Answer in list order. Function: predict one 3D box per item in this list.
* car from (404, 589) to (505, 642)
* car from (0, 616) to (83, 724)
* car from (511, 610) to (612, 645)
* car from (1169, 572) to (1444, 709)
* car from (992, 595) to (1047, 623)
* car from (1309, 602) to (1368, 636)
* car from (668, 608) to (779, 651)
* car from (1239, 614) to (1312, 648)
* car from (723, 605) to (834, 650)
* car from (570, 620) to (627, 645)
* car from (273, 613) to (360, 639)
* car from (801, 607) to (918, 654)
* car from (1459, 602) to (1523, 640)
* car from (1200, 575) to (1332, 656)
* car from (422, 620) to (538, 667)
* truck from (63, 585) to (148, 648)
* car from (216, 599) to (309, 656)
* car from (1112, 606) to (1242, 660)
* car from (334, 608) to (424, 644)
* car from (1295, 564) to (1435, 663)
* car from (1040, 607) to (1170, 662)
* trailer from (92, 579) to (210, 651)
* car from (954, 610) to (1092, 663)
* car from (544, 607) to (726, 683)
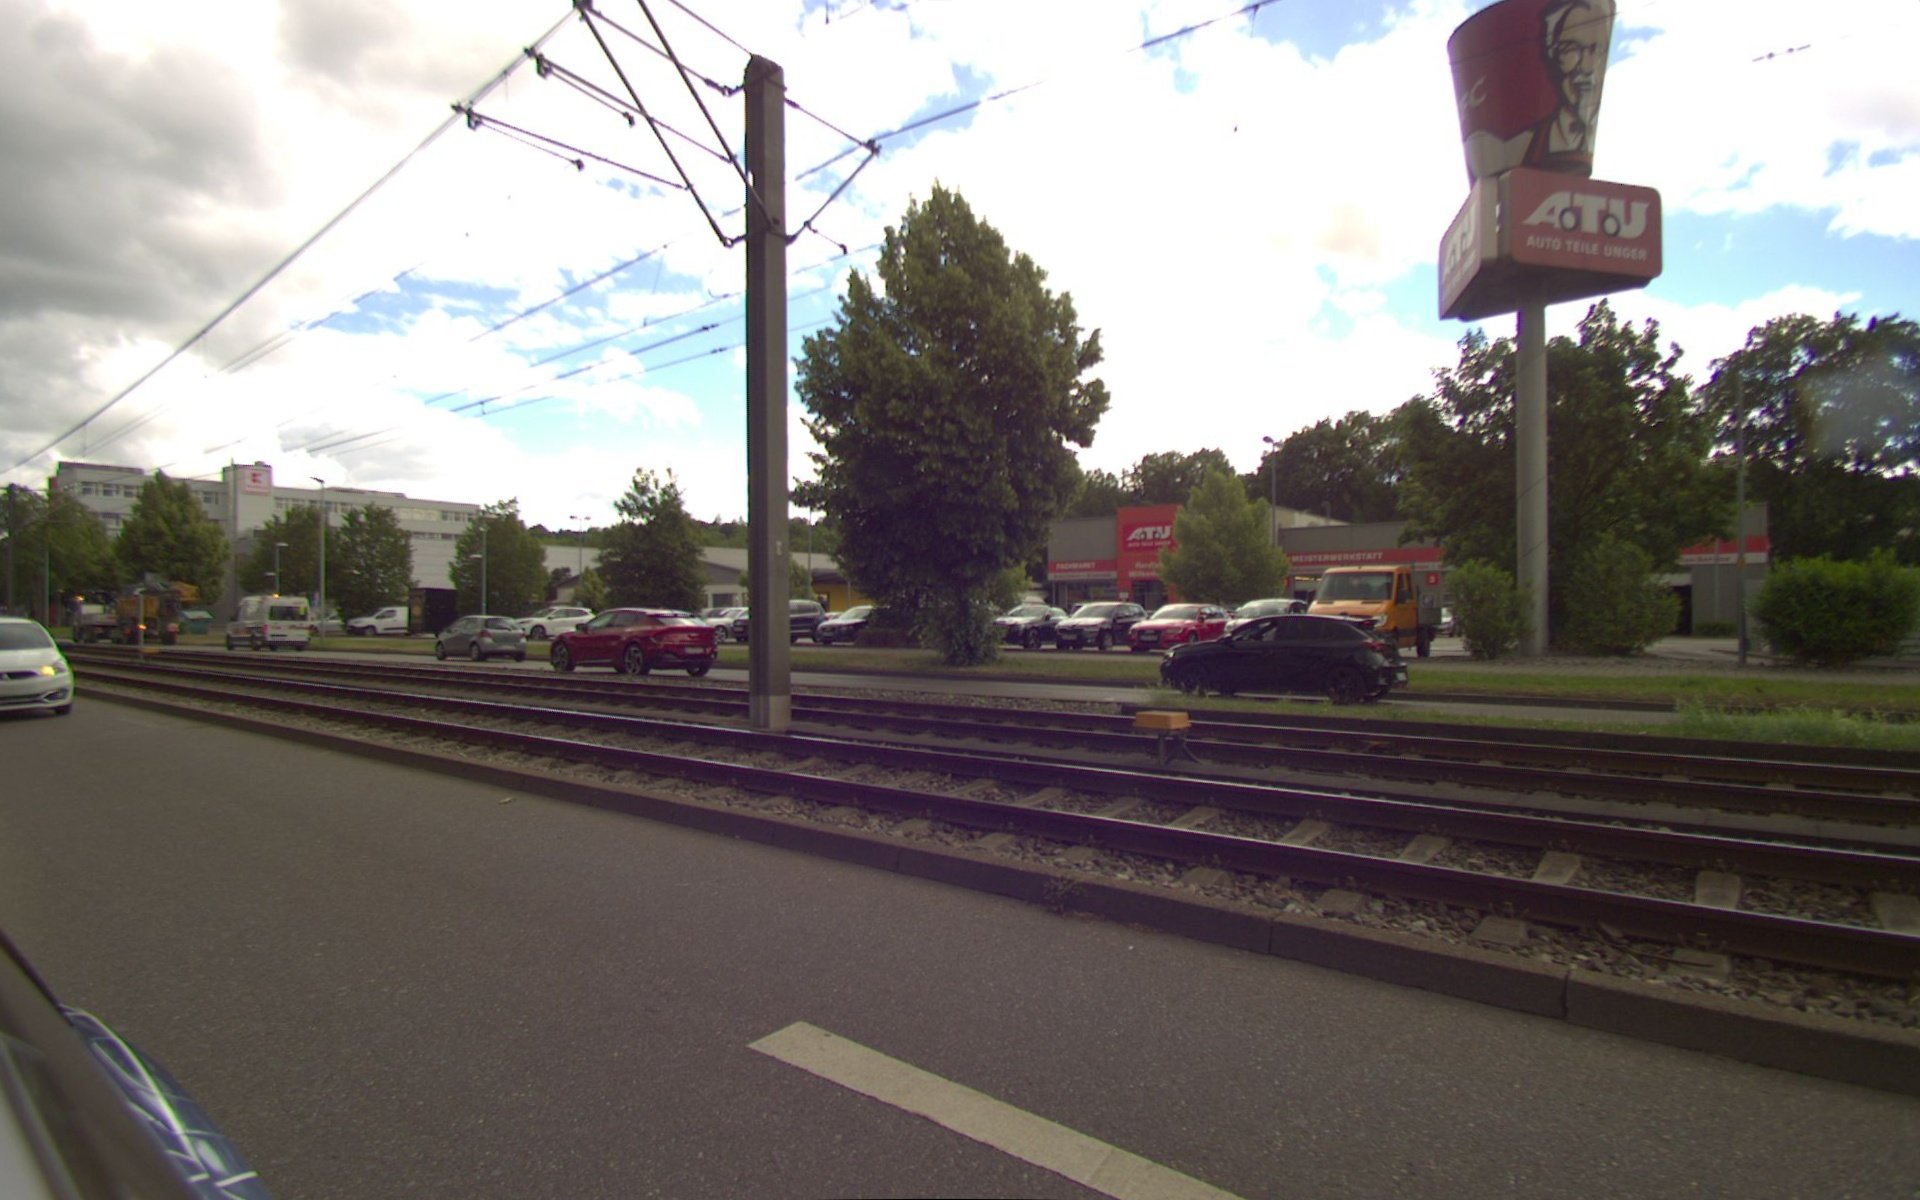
[{"bbox_3d":[-27.882,0.894,55.942,2.286,2.769,4.425,-1,-2,39],"label":"car"},{"bbox_3d":[-14.840,1.014,15.180,3.994,1.455,1.765,-1,1,38],"label":"car"},{"bbox_3d":[-20.038,1.359,51.036,1.792,1.518,4.430,-1,1,36],"label":"car"},{"bbox_3d":[5.773,0.680,17.014,3.991,2.029,1.976,-1,-3,35],"label":"car"},{"bbox_3d":[3.859,0.547,64.953,1.720,1.634,3.694,-1,1,37],"label":"car"},{"bbox_3d":[20.081,0.981,53.595,1.918,1.634,3.694,-1,1,37],"label":"car"},{"bbox_3d":[-9.458,1.154,40.687,2.000,1.518,3.948,-1,1,39],"label":"car"},{"bbox_3d":[13.822,1.349,44.255,1.949,1.400,3.693,-1,-2,37],"label":"car"},{"bbox_3d":[-7.044,1.048,39.590,1.935,1.518,3.948,-1,1,39],"label":"car"},{"bbox_3d":[-23.733,2.110,66.593,1.975,1.417,3.994,-2,1,5],"label":"car"},{"bbox_3d":[-42.943,1.737,67.579,2.000,1.503,4.551,-1,1,42],"label":"car"},{"bbox_3d":[-3.542,1.066,36.213,1.935,1.431,3.948,-1,1,39],"label":"car"},{"bbox_3d":[25.395,0.966,48.358,1.998,1.605,3.948,-1,1,39],"label":"car"},{"bbox_3d":[8.213,0.368,26.943,1.998,1.932,3.948,-1,1,39],"label":"car"},{"bbox_3d":[-16.319,1.465,34.350,3.995,1.494,1.974,-1,-4,39],"label":"car"},{"bbox_3d":[-58.162,1.172,68.810,8.623,3.997,2.863,-2,-2,40],"label":"truck"},{"bbox_3d":[-32.674,1.286,47.325,5.992,2.518,1.851,-1,-3,39],"label":"car"},{"bbox_3d":[6.113,0.870,28.233,1.998,1.245,3.948,-1,1,39],"label":"car"},{"bbox_3d":[-35.414,1.565,61.735,2.000,1.933,4.299,-1,1,42],"label":"car"},{"bbox_3d":[9.879,0.257,24.535,2.056,2.182,3.948,-1,1,39],"label":"car"},{"bbox_3d":[4.372,0.989,30.150,2.091,1.377,3.948,-1,1,39],"label":"car"},{"bbox_3d":[-49.325,0.984,61.442,14.412,3.927,2.644,-1,-3,40],"label":"trailer"},{"bbox_3d":[2.031,1.097,31.544,2.193,1.364,4.331,-1,1,39],"label":"car"},{"bbox_3d":[-7.535,1.011,23.276,4.475,1.594,1.766,-1,-3,38],"label":"car"}]
